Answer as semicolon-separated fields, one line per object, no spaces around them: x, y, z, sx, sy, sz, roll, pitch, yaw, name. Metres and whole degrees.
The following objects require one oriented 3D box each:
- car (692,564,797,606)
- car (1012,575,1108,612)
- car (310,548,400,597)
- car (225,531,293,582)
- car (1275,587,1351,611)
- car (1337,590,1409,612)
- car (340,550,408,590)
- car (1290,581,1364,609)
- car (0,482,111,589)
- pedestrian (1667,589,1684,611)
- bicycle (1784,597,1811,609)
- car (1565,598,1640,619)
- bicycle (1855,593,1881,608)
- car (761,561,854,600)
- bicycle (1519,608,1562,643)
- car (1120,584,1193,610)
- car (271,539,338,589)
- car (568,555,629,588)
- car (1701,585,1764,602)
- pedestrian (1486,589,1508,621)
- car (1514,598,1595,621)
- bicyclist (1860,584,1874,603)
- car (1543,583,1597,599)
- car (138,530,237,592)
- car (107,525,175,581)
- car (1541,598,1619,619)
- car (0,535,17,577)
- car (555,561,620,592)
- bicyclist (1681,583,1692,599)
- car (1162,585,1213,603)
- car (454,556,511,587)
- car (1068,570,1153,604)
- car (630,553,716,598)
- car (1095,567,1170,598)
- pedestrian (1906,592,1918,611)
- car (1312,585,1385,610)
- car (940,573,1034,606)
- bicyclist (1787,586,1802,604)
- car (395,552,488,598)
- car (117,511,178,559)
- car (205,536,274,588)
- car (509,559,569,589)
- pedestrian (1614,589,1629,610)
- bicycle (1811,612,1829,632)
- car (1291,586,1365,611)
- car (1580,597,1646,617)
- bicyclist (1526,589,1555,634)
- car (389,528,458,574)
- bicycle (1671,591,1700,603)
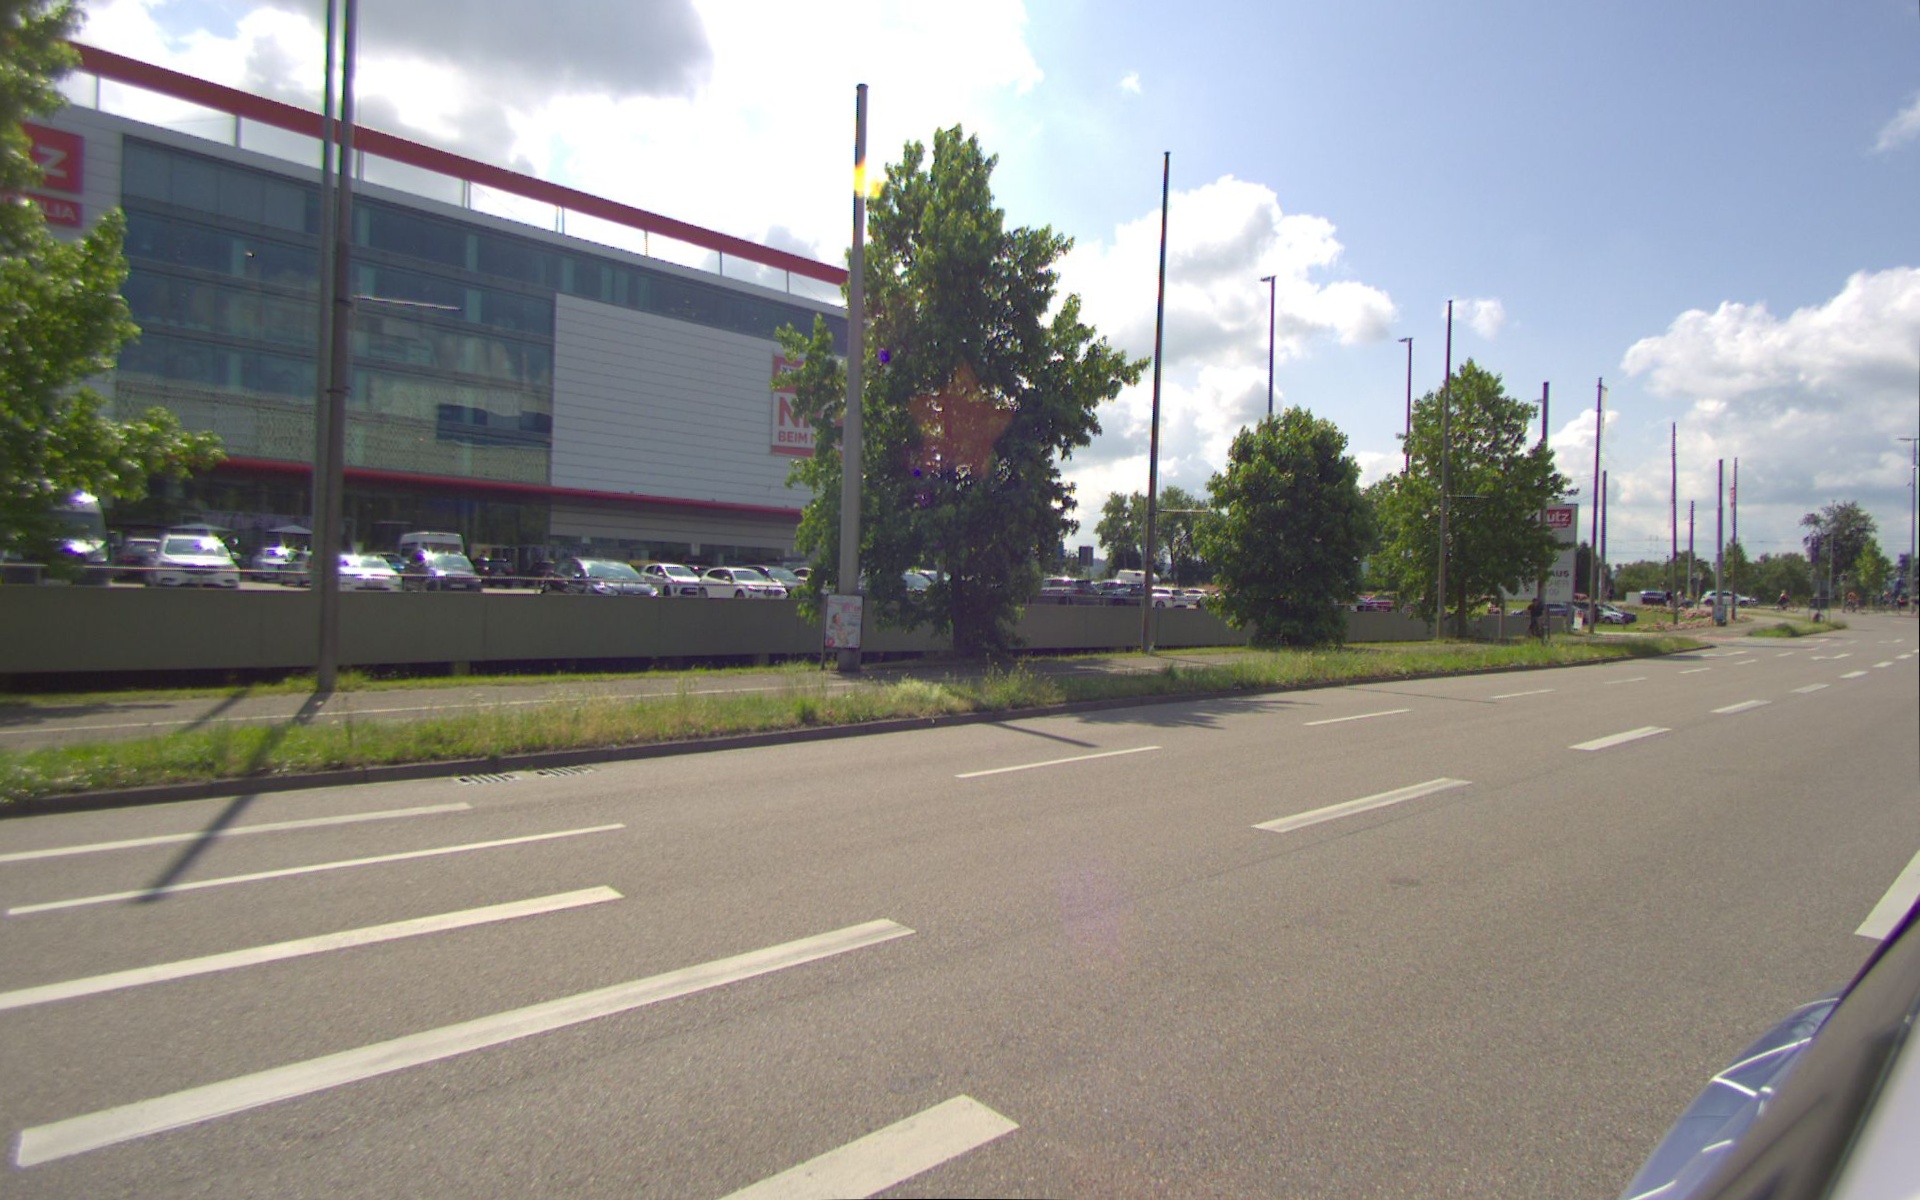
-8.087;-0.567;37.750;1.862;1.406;4.186;1;1;-45;car
4.809;-0.318;48.944;1.996;1.594;4.364;1;1;-43;car
-19.782;-0.924;33.027;1.696;1.452;4.190;1;1;-42;car
-30.450;-1.836;43.921;1.965;2.039;3.993;1;-1;-42;car
22.866;-0.073;65.708;1.814;1.379;4.368;0;2;-40;car
29.487;0.046;72.327;1.814;1.379;4.368;2;1;-40;car
-24.336;-1.219;41.991;1.713;1.535;3.800;1;-1;-41;car
22.739;-0.330;62.764;1.666;1.608;4.019;2;-1;-43;car
-22.944;-1.491;25.535;2.027;2.396;5.663;0;0;-43;car
60.134;-0.004;85.046;0.864;1.787;0.849;6;0;44;pedestrian
69.652;0.248;84.146;1.664;0.973;0.665;1;-1;2;bicycle
47.384;0.586;74.687;1.765;1.458;4.365;0;1;-41;car
74.106;0.012;82.609;1.488;1.180;0.616;1;-1;24;bicycle
-6.536;-0.813;43.132;1.967;1.591;3.990;0;0;-44;car
18.980;0.827;33.087;1.934;1.081;0.624;1;1;-42;bicycle
12.178;-0.206;62.961;1.728;1.446;4.296;3;-1;-41;car
-26.193;-1.387;40.379;1.743;1.861;3.892;1;-1;-40;car
-19.522;-1.494;54.609;1.772;1.638;3.993;1;-1;-41;car
72.112;-0.603;94.476;1.981;1.430;4.485;0;1;-45;car
30.336;0.286;57.195;0.856;1.805;0.783;1;-1;4;pedestrian
39.980;0.633;68.131;1.824;1.495;4.367;0;0;-40;car
74.050;-0.512;82.634;0.689;1.555;0.616;0;-1;23;bicyclist
59.130;-0.908;98.125;4.236;1.377;1.721;3;2;44;car
-20.687;-0.988;27.049;1.718;1.534;3.990;-1;1;-43;car
-30.219;-1.672;37.312;1.744;1.861;3.890;1;-1;-41;car
43.586;0.607;71.206;1.825;1.434;4.365;0;0;-41;car
-36.674;-1.655;38.041;1.606;1.461;3.902;1;-1;-41;car
-18.148;-1.106;49.174;1.601;1.438;3.992;1;-1;-42;car
62.061;-0.760;86.494;0.681;1.342;0.586;0;-1;30;bicyclist
18.985;-0.505;84.498;1.639;1.470;3.993;1;-1;-41;car
-23.916;-1.393;50.670;1.601;1.438;3.572;1;-1;-42;car
7.773;-0.686;52.464;1.735;1.572;4.187;1;1;-43;car
-12.103;-0.997;42.580;1.965;1.742;3.993;1;-1;-41;car
18.337;-1.866;108.125;3.066;3.193;7.898;0;1;-39;car
74.948;0.108;79.635;0.460;1.543;0.585;0;-1;-33;pedestrian
26.229;-0.165;68.464;1.652;1.527;4.368;1;2;-40;car
1.180;-0.493;46.505;1.735;1.341;4.364;1;1;-43;car
69.400;-0.430;84.176;0.729;1.494;0.651;1;-1;1;bicyclist
-18.203;-0.893;35.428;1.860;1.452;4.190;1;1;-42;car
-33.228;-2.607;41.339;1.719;1.727;3.746;1;-1;-42;car
-27.779;-1.419;38.964;1.744;1.861;3.890;1;-1;-41;car
-21.842;-1.328;52.449;1.601;1.438;3.992;1;-1;-42;car
57.695;-0.033;88.238;0.744;1.825;0.823;0;0;-15;pedestrian
43.272;1.112;50.907;1.518;0.964;0.517;-1;0;-43;bicycle
24.353;-0.111;67.025;1.598;1.460;4.368;2;1;-40;car
50.434;0.548;78.174;1.687;1.436;3.991;0;1;-43;car
18.979;0.377;33.085;0.702;1.431;0.616;1;0;-41;bicyclist
-25.246;-2.256;47.596;1.965;1.976;3.993;1;-1;-42;car
62.017;-0.254;86.502;1.971;0.973;0.590;0;-1;30;bicycle
